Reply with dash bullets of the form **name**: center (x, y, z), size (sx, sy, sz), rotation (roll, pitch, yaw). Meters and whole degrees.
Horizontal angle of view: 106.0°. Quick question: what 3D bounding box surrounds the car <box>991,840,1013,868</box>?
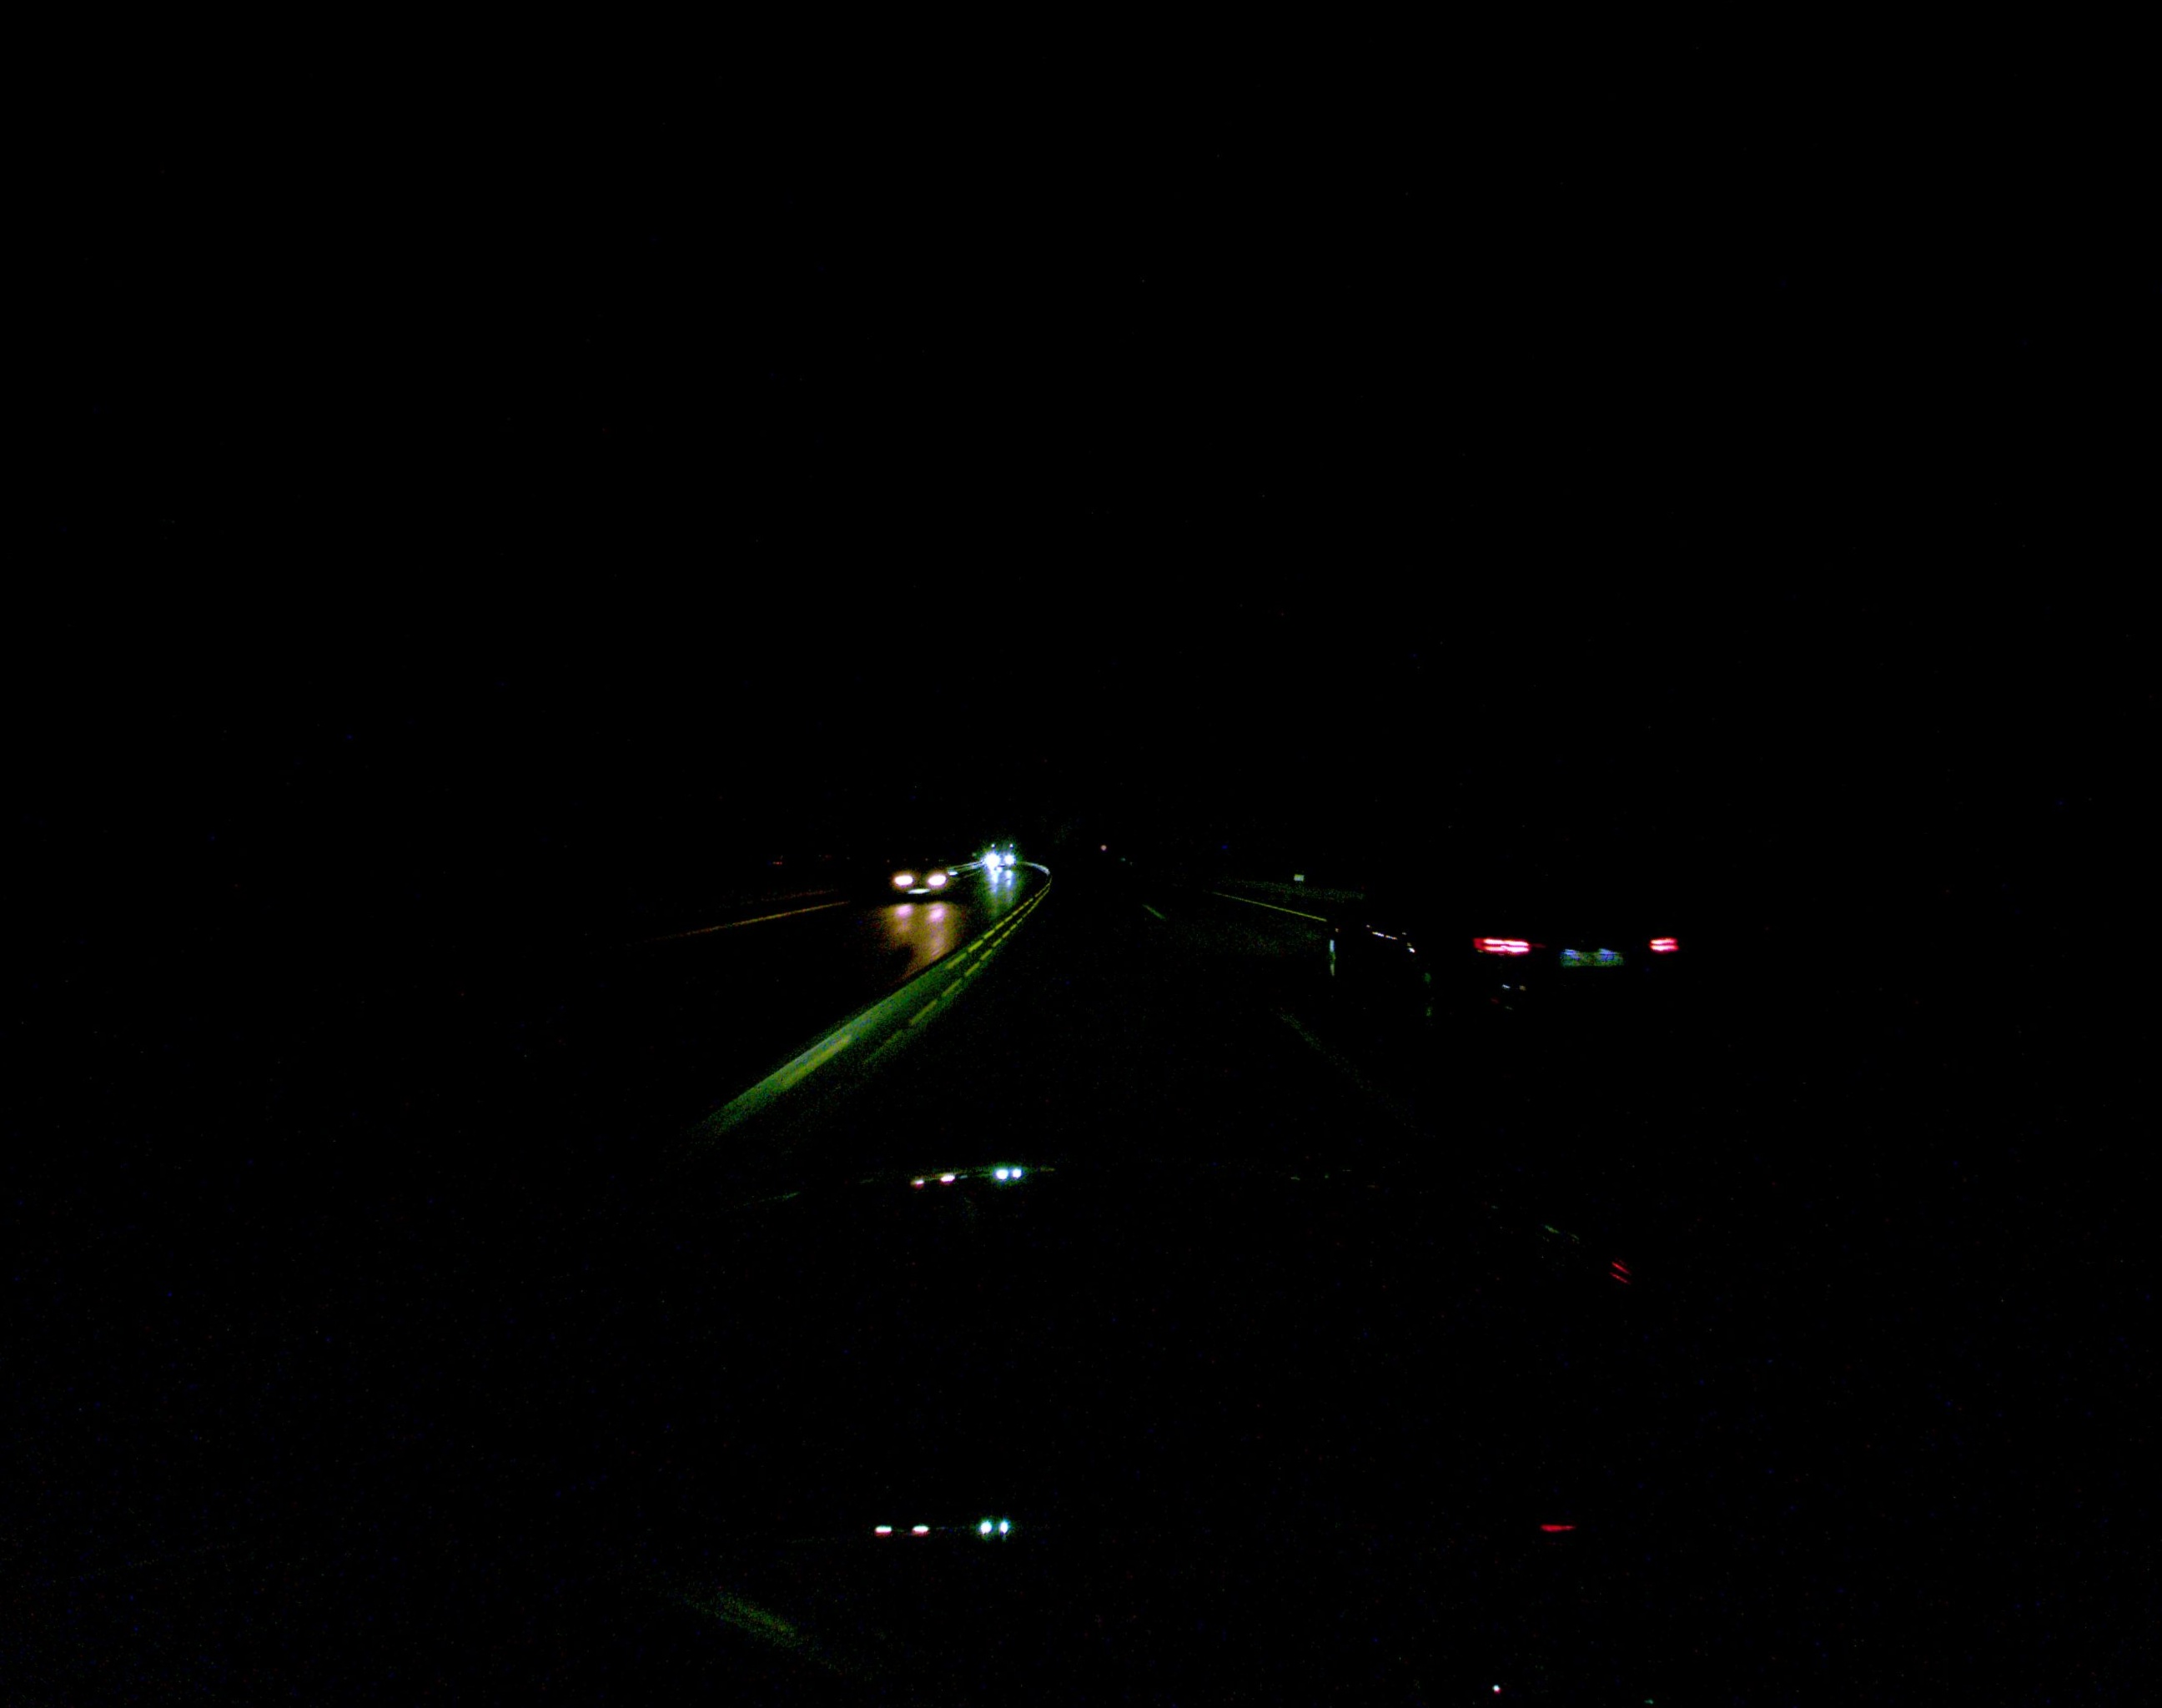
- **car**: center (-9.569, 0.069, 98.233), size (2.483, 3.105, 7.369), rotation (-1, -1, -6)

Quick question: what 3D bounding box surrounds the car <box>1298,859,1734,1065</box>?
- **car**: center (3.760, 0.786, 8.258), size (1.802, 1.426, 4.874), rotation (-1, 0, 0)

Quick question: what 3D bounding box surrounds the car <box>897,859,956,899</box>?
- **car**: center (-6.014, 0.942, 32.073), size (1.681, 1.459, 4.195), rotation (-1, 0, -3)
